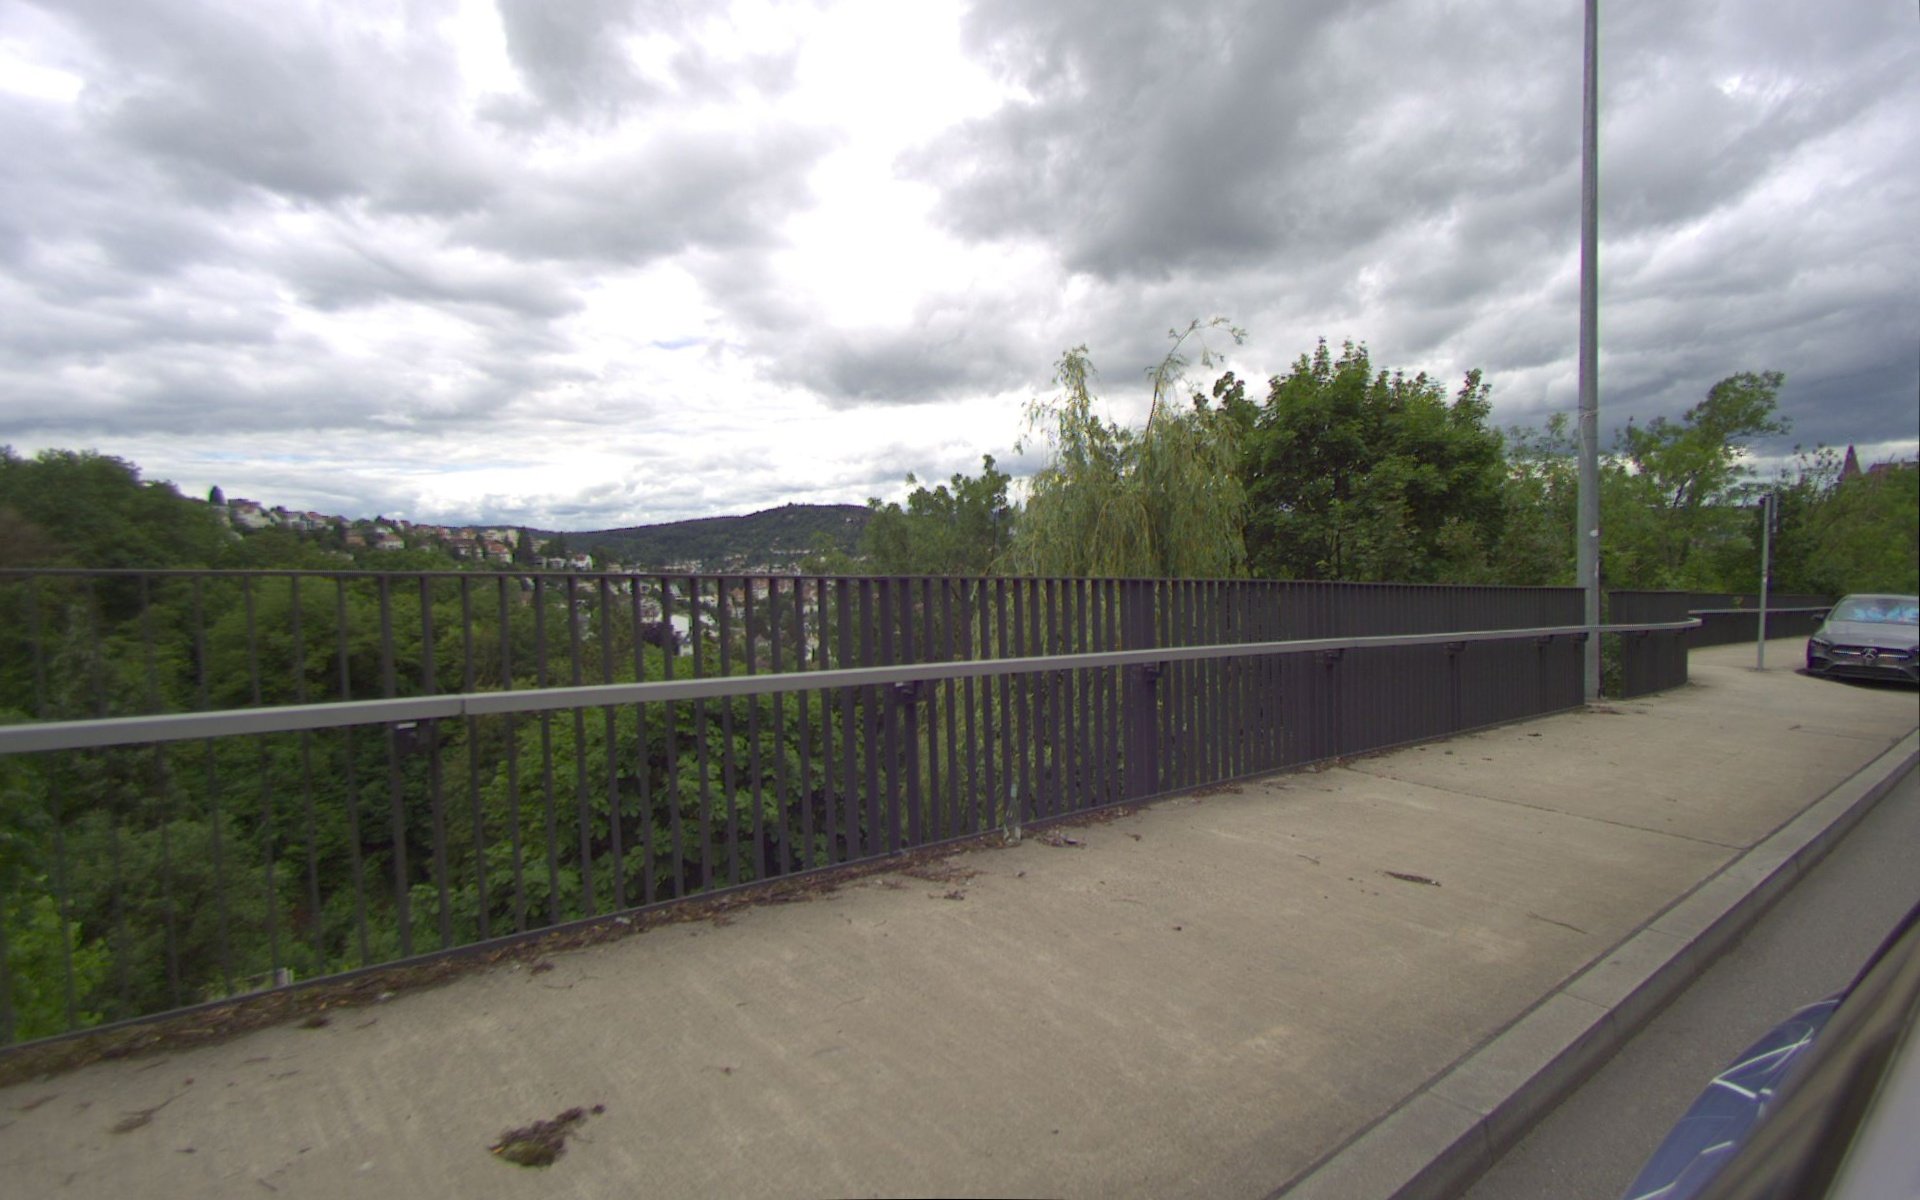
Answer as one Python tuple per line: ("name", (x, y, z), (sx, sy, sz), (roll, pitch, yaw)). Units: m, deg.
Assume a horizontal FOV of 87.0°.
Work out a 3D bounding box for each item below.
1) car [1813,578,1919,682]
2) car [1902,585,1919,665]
("car", (16.421, 0.456, 17.539), (4.349, 1.562, 1.761), (-1, 4, -41))
("car", (21.367, 0.498, 21.288), (4.543, 1.588, 1.730), (-1, 2, -41))
